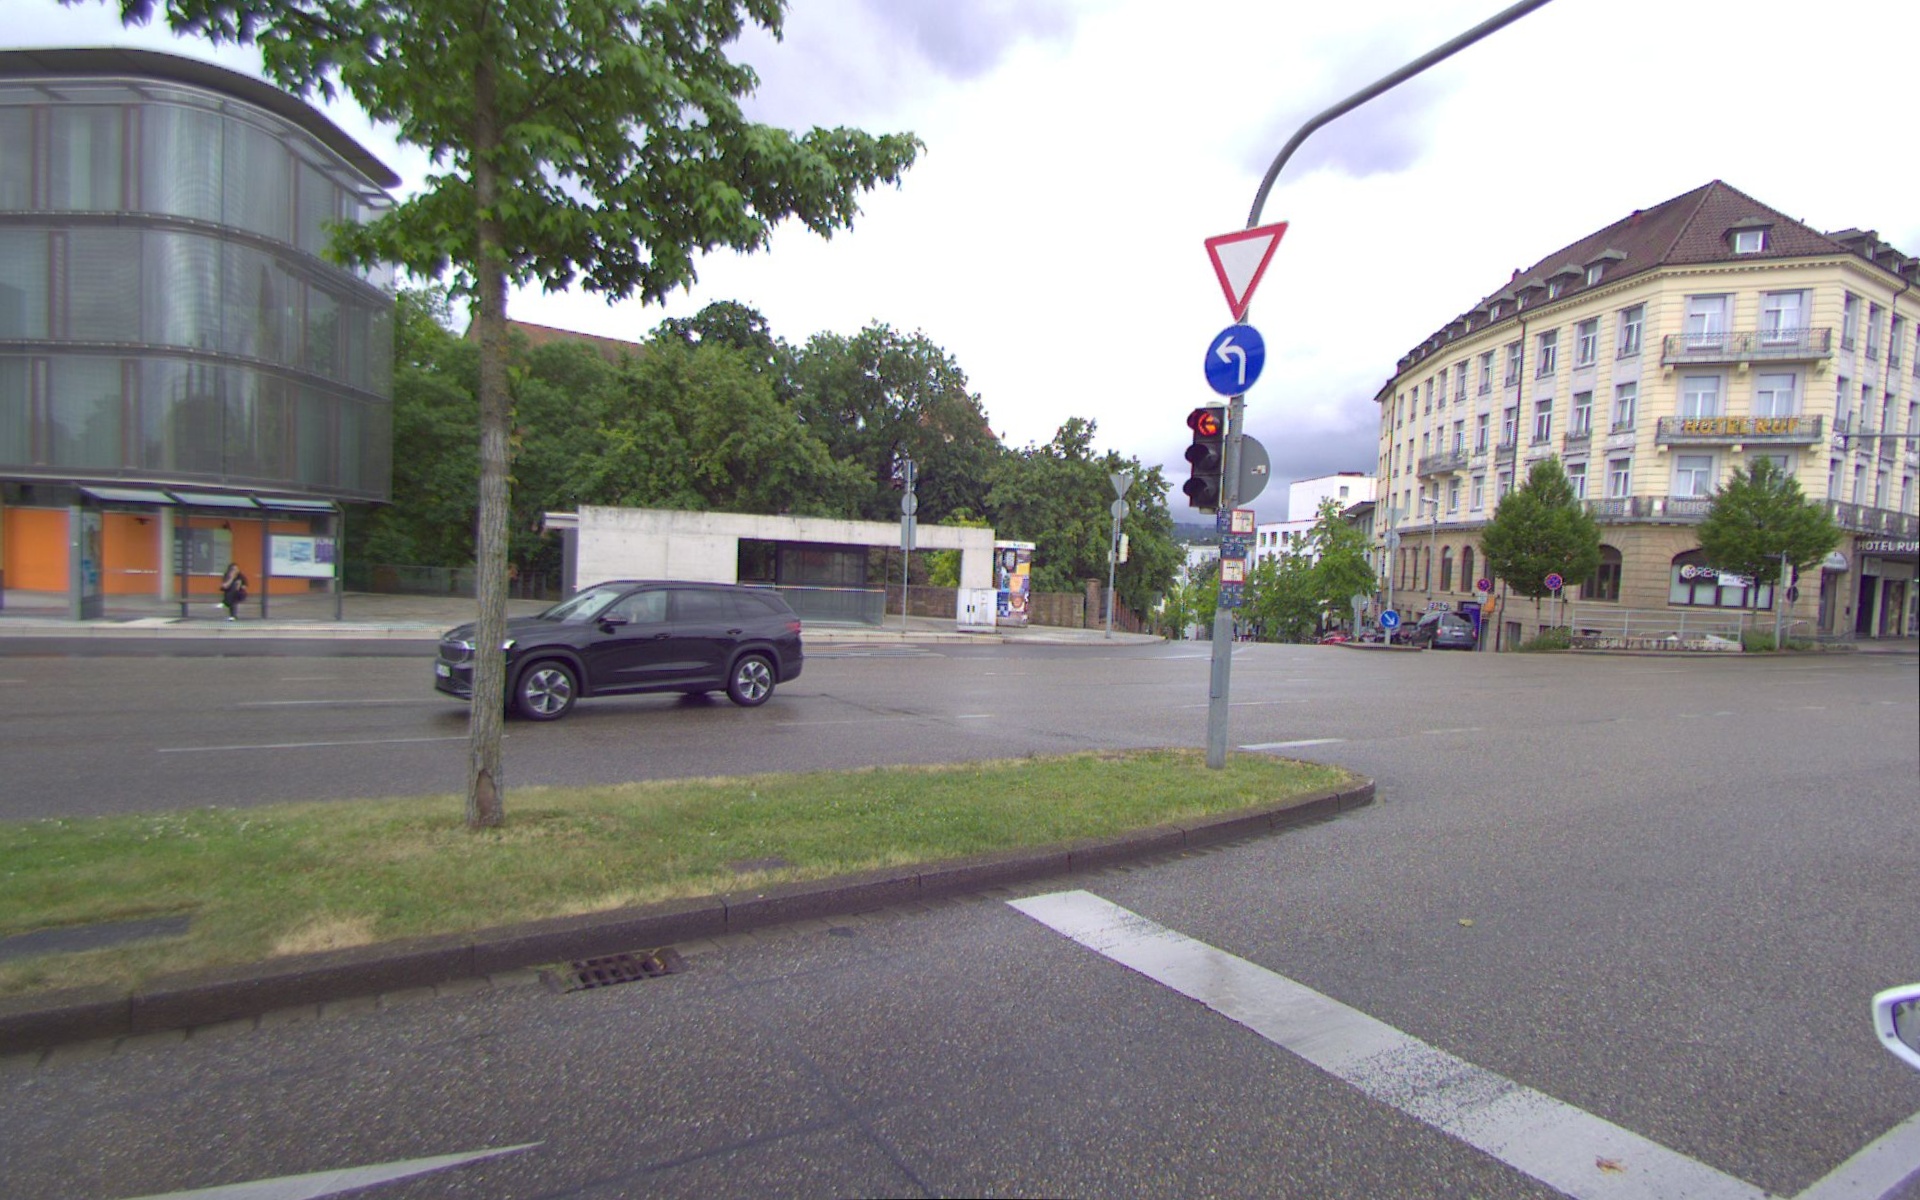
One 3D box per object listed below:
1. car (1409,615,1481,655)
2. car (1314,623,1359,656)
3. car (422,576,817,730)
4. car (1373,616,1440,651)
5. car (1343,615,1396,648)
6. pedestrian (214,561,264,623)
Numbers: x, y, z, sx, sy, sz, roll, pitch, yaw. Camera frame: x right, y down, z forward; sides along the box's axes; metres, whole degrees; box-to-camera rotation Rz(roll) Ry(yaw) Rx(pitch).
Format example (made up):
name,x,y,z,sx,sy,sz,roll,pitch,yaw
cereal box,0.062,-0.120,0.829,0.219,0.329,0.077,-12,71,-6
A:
name,x,y,z,sx,sy,sz,roll,pitch,yaw
car,21.753,1.542,45.205,1.764,1.589,4.002,2,1,9
car,23.607,2.434,63.065,1.741,1.836,3.624,2,1,7
car,-4.290,0.601,13.174,4.567,1.662,1.804,1,1,-43
car,22.927,1.680,51.712,1.959,1.662,4.002,2,0,6
car,23.183,1.733,57.011,1.757,1.662,3.916,2,1,6
pedestrian,-16.069,-0.182,22.401,0.780,1.341,0.798,1,1,-28
